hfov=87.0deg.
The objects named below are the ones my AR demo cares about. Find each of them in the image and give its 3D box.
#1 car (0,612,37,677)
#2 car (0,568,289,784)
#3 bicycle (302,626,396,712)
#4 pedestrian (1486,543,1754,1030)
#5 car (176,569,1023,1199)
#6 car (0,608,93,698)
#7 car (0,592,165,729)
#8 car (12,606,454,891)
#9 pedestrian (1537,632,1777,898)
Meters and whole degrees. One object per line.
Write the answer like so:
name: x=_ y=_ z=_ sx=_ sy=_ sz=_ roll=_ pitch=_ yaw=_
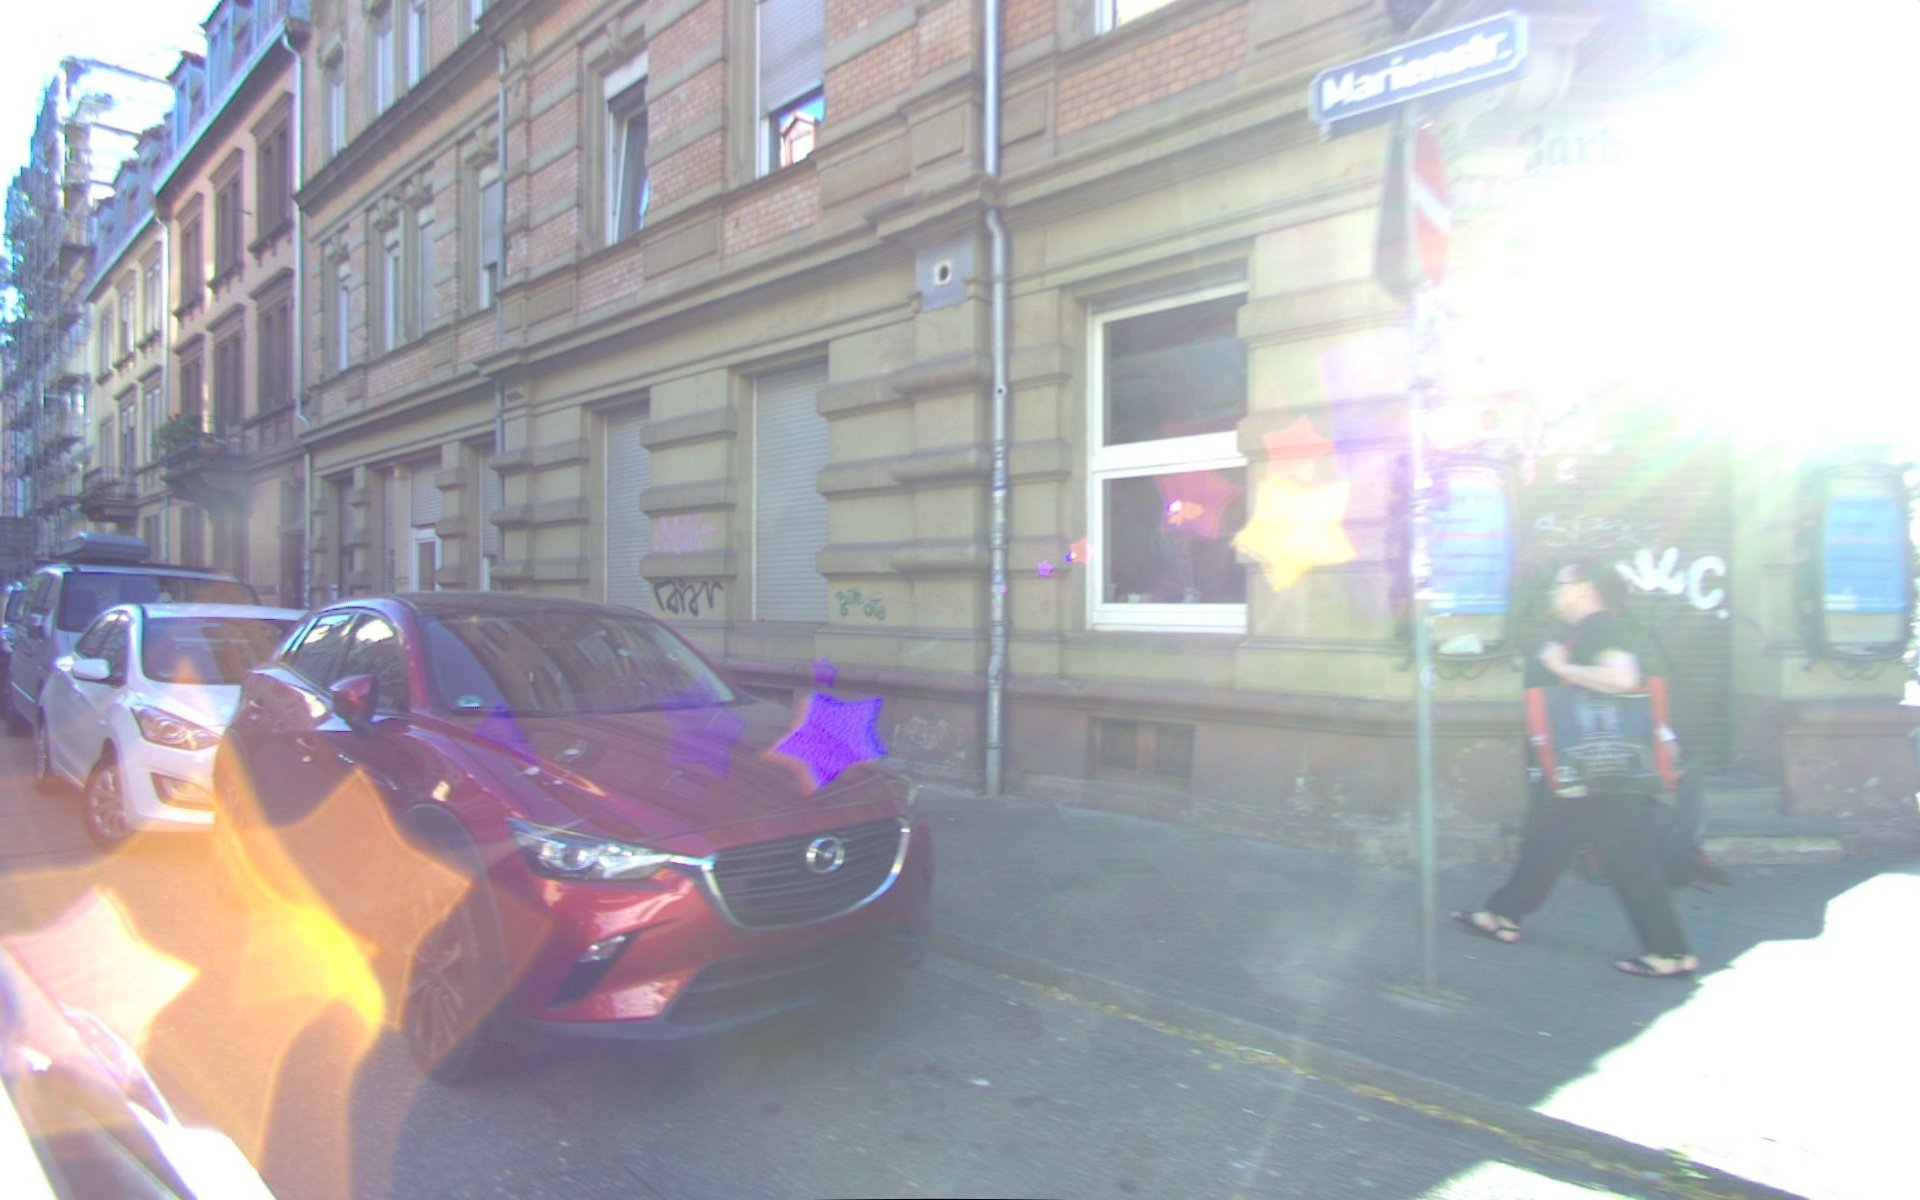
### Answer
car: x=-22.919 y=0.985 z=23.562 sx=3.998 sy=1.430 sz=1.656 roll=0 pitch=-2 yaw=41
car: x=-8.852 y=0.619 z=10.692 sx=4.607 sy=1.798 sz=1.872 roll=0 pitch=1 yaw=43
bicycle: x=-8.872 y=0.964 z=14.666 sx=1.785 sy=1.133 sz=0.660 roll=-1 pitch=1 yaw=43
pedestrian: x=2.481 y=0.606 z=3.802 sx=0.759 sy=1.592 sz=0.660 roll=0 pitch=0 yaw=41
car: x=-1.859 y=0.661 z=4.353 sx=4.089 sy=1.492 sz=1.704 roll=0 pitch=1 yaw=42
car: x=-16.395 y=0.865 z=17.431 sx=3.999 sy=1.323 sz=1.681 roll=0 pitch=3 yaw=42
car: x=-12.804 y=0.732 z=14.294 sx=4.608 sy=1.636 sz=1.768 roll=0 pitch=1 yaw=43
car: x=-5.260 y=0.781 z=7.132 sx=3.872 sy=1.431 sz=1.657 roll=0 pitch=1 yaw=41
pedestrian: x=3.496 y=0.777 z=5.119 sx=0.657 sy=1.186 sz=0.750 roll=-1 pitch=0 yaw=-19
